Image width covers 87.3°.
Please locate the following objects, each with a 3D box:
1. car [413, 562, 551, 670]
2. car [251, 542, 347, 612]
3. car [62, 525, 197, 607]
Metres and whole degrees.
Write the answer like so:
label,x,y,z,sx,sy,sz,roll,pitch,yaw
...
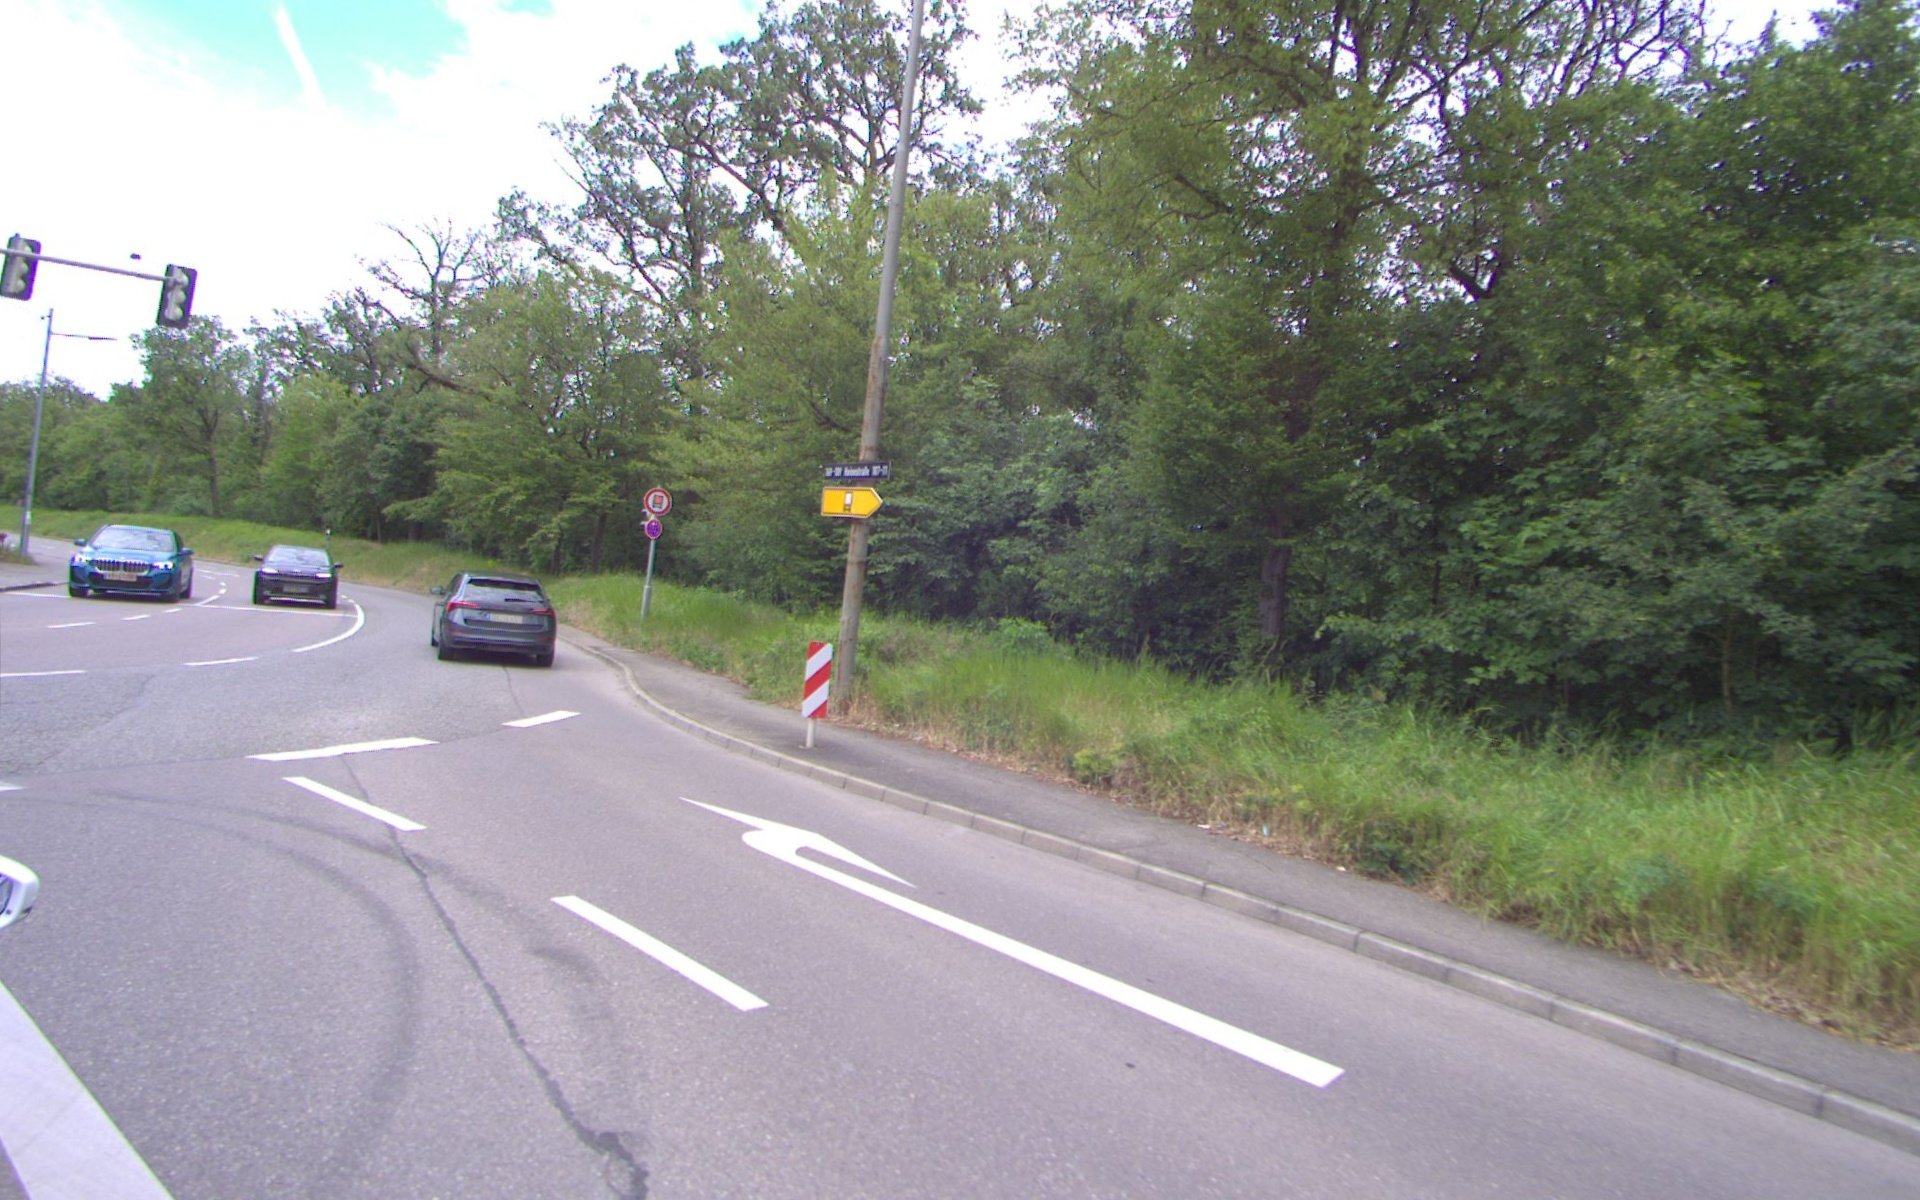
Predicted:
label,x,y,z,sx,sy,sz,roll,pitch,yaw
car,-8.084,0.208,17.254,1.775,1.467,3.979,7,-1,-23
car,-17.428,-0.638,26.451,1.805,1.526,3.960,5,0,-37
car,-18.684,-0.799,22.809,1.844,1.526,3.964,5,0,-34
